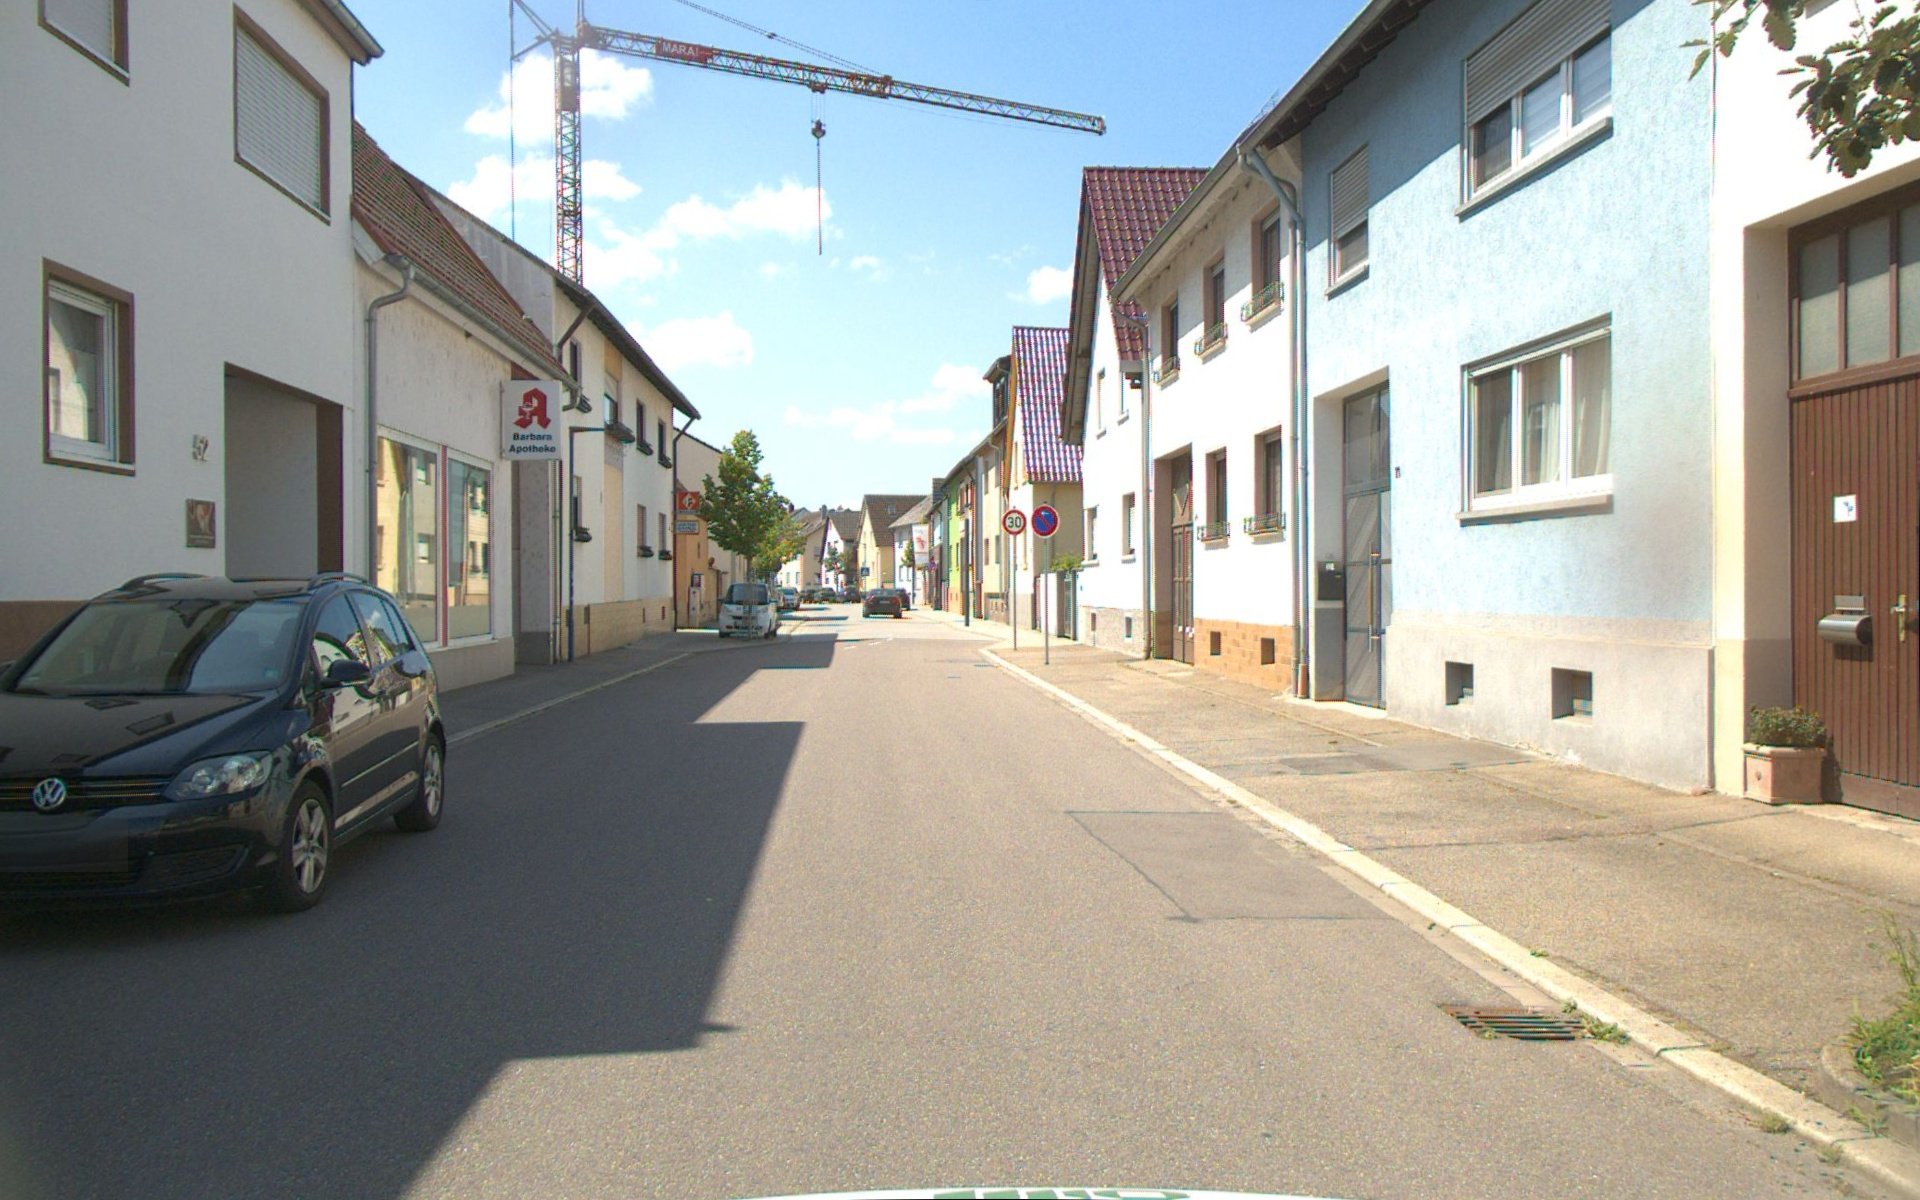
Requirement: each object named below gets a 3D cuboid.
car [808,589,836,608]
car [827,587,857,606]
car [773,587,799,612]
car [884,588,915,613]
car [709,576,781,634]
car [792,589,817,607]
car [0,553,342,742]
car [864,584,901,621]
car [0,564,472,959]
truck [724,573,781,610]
[{"bbox_3d":[-13.755,-0.149,164.321,1.794,1.784,4.205,-1,0,-19],"label":"car"},{"bbox_3d":[-11.073,-0.325,154.801,1.756,1.784,4.204,-1,0,-20],"label":"car"},{"bbox_3d":[-12.291,-0.040,116.774,1.702,1.716,4.225,2,0,-7],"label":"car"},{"bbox_3d":[-3.979,0.040,108.278,1.748,1.591,4.332,-1,0,-5],"label":"car"},{"bbox_3d":[-6.195,0.126,48.048,1.689,1.583,4.170,1,0,-3],"label":"car"},{"bbox_3d":[-16.160,-0.193,171.657,1.791,1.784,4.210,-1,0,-16],"label":"car"},{"bbox_3d":[-8.680,0.447,16.735,4.157,1.779,1.879,-1,0,-4],"label":"car"},{"bbox_3d":[-3.892,0.118,82.627,1.748,1.784,3.996,-1,0,-4],"label":"car"},{"bbox_3d":[-3.925,0.657,8.922,1.620,1.637,4.058,0,0,-4],"label":"car"},{"bbox_3d":[-22.962,-0.858,182.460,3.329,3.933,13.846,-1,0,-19],"label":"truck"}]
